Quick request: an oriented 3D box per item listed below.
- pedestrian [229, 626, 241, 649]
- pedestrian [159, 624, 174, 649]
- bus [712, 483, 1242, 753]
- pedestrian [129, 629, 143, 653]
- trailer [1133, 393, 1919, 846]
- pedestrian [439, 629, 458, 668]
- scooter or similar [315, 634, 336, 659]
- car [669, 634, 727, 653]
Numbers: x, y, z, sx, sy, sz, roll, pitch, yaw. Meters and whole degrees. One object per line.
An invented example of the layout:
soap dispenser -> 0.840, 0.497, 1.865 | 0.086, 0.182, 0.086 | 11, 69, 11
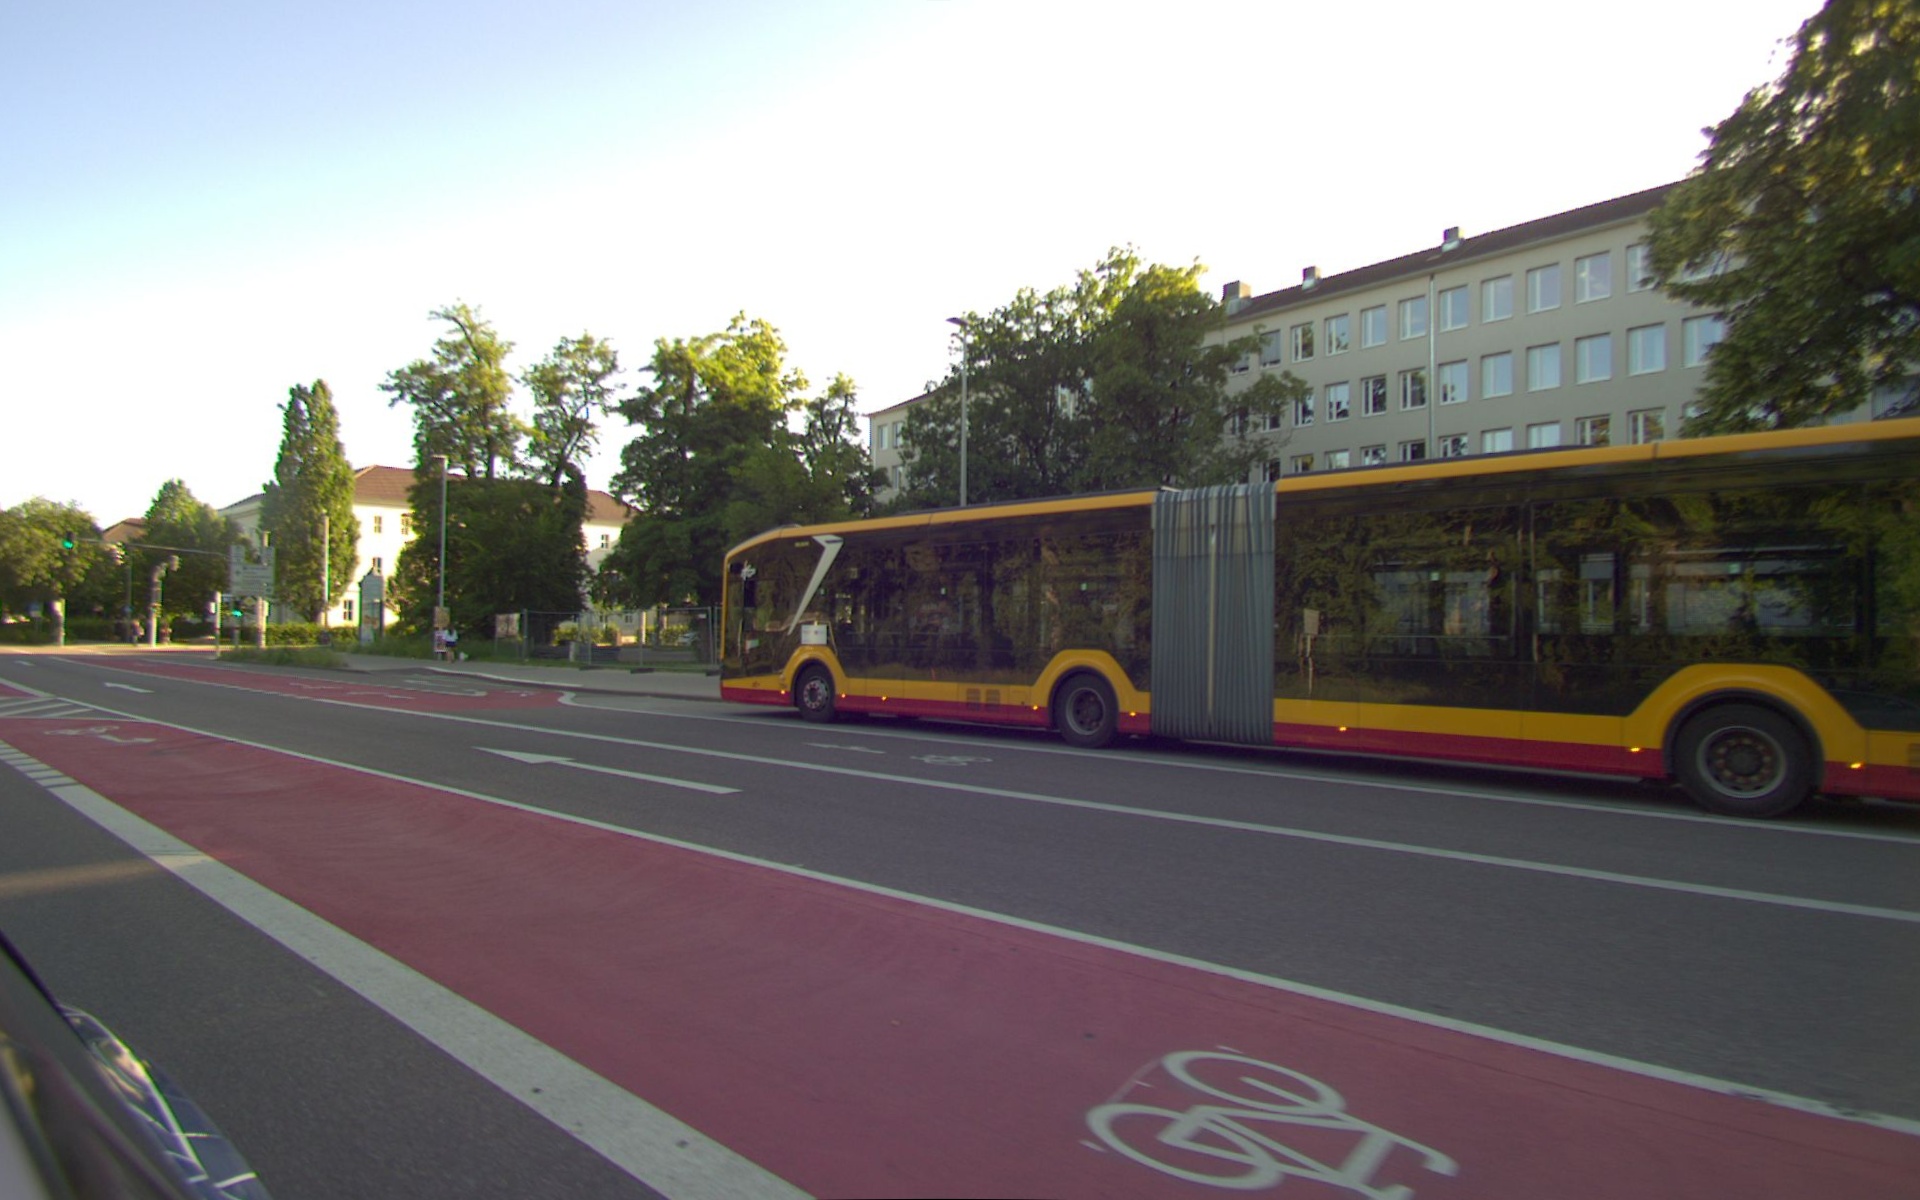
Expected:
pedestrian -> -58.743, 3.020, 81.961 | 0.681, 1.830, 0.681 | 2, -3, -42
pedestrian -> -58.010, 2.691, 73.990 | 0.734, 1.830, 0.727 | 2, -3, -42
bus -> -0.186, 0.324, 15.999 | 8.595, 3.221, 2.811 | -1, -3, 41
pedestrian -> -59.245, 2.950, 72.783 | 0.681, 1.694, 0.681 | 2, -3, -42
trailer -> 6.508, 0.161, 10.024 | 9.359, 3.381, 2.825 | -1, 0, 42
pedestrian -> -20.454, 1.943, 40.464 | 0.570, 1.545, 0.447 | -1, -3, 36
scooter or similar -> -34.653, 2.528, 55.305 | 0.683, 1.304, 1.501 | 1, -2, -21
car -> -21.931, 3.667, 84.860 | 4.194, 1.551, 2.071 | 2, -3, -43
